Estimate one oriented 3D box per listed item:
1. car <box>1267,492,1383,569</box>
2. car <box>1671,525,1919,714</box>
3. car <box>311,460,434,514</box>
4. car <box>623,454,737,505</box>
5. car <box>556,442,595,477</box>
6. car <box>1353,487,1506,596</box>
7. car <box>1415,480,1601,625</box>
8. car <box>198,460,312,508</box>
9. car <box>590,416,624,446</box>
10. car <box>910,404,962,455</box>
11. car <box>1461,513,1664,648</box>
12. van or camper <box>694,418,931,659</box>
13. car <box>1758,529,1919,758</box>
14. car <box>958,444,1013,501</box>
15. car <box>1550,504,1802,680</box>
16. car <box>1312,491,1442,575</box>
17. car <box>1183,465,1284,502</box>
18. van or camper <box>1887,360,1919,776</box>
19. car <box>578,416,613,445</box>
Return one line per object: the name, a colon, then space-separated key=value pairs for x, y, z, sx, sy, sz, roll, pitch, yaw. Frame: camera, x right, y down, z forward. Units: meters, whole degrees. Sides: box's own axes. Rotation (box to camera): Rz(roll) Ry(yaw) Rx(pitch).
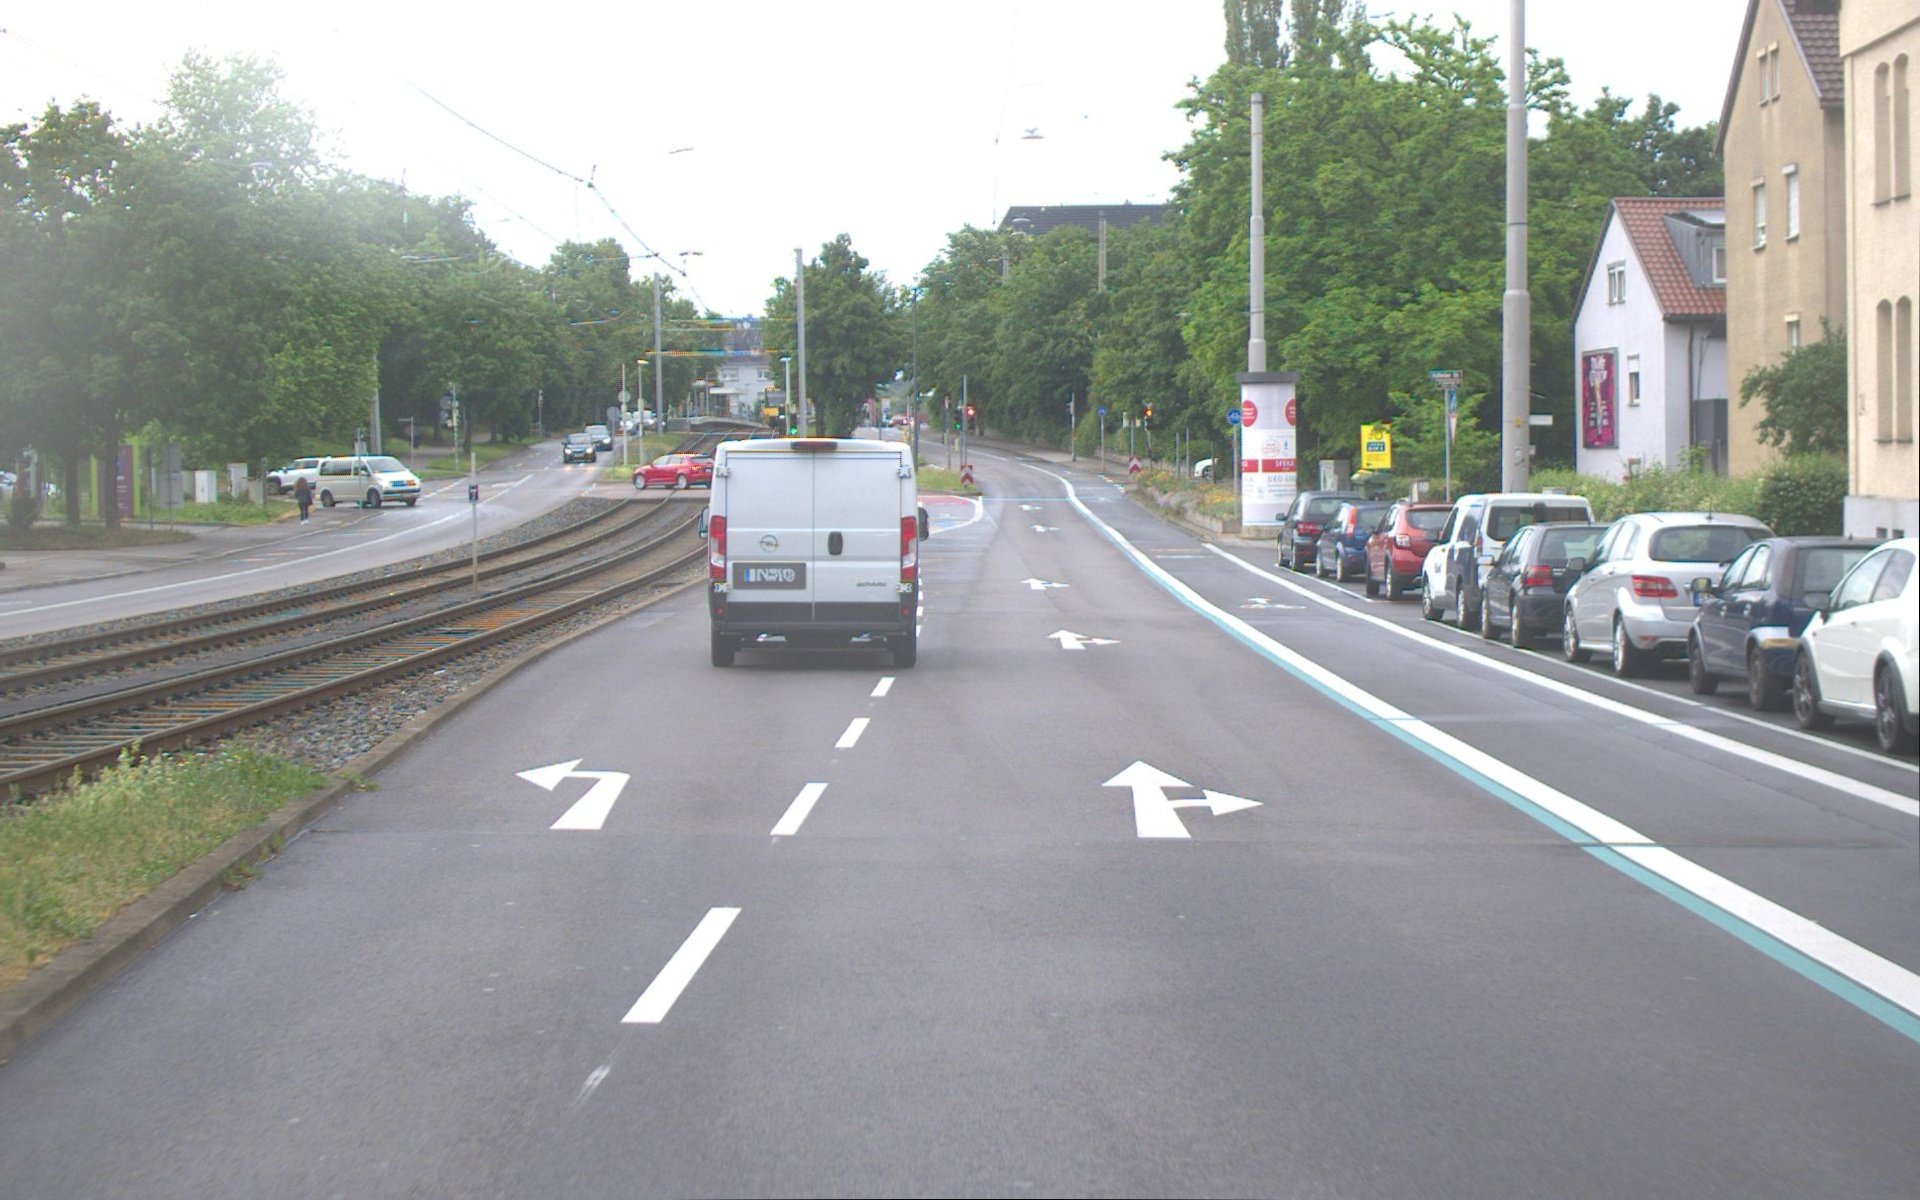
car: x=7.326 y=-1.416 z=69.345 sx=1.847 sy=1.494 sz=3.955 roll=1 pitch=1 yaw=-1
car: x=7.219 y=0.118 z=29.242 sx=1.626 sy=1.443 sz=3.707 roll=1 pitch=2 yaw=1
car: x=-22.696 y=-4.371 z=132.677 sx=4.522 sy=2.007 sz=1.996 roll=2 pitch=1 yaw=34
car: x=-11.498 y=-4.948 z=141.102 sx=4.523 sy=2.007 sz=1.995 roll=2 pitch=1 yaw=40
car: x=-20.188 y=-7.381 z=180.728 sx=1.690 sy=1.706 sz=3.777 roll=1 pitch=1 yaw=-1
car: x=7.526 y=-0.969 z=55.447 sx=1.847 sy=1.640 sz=3.955 roll=1 pitch=2 yaw=-1
car: x=7.215 y=-0.668 z=45.613 sx=1.747 sy=1.801 sz=3.955 roll=1 pitch=2 yaw=-1
car: x=-30.913 y=-5.098 z=150.686 sx=4.518 sy=2.007 sz=1.998 roll=1 pitch=1 yaw=22
car: x=-25.289 y=-12.099 z=246.431 sx=1.993 sy=2.007 sz=4.000 roll=1 pitch=1 yaw=-1
car: x=-1.040 y=-7.234 z=146.131 sx=1.993 sy=2.007 sz=4.001 roll=1 pitch=1 yaw=-3
car: x=6.977 y=-0.267 z=40.152 sx=1.646 sy=1.441 sz=3.955 roll=1 pitch=2 yaw=0
van or camper: x=-1.520 y=-0.624 z=34.844 sx=2.198 sy=2.245 sz=4.685 roll=1 pitch=1 yaw=-3
car: x=7.037 y=0.259 z=24.605 sx=1.708 sy=1.441 sz=4.041 roll=1 pitch=2 yaw=1
car: x=0.932 y=-4.725 z=127.715 sx=1.993 sy=2.007 sz=4.000 roll=1 pitch=1 yaw=0
car: x=7.133 y=-0.133 z=34.612 sx=1.646 sy=1.609 sz=4.105 roll=1 pitch=2 yaw=0
car: x=7.641 y=-1.243 z=63.294 sx=1.847 sy=1.494 sz=3.955 roll=1 pitch=1 yaw=-1
car: x=11.553 y=-4.906 z=145.028 sx=4.171 sy=1.471 sz=1.666 roll=-1 pitch=2 yaw=7
van or camper: x=6.884 y=-0.090 z=18.753 sx=1.993 sy=2.554 sz=6.043 roll=1 pitch=2 yaw=0
car: x=-21.585 y=-10.028 z=203.611 sx=1.690 sy=1.569 sz=3.777 roll=1 pitch=1 yaw=-1
